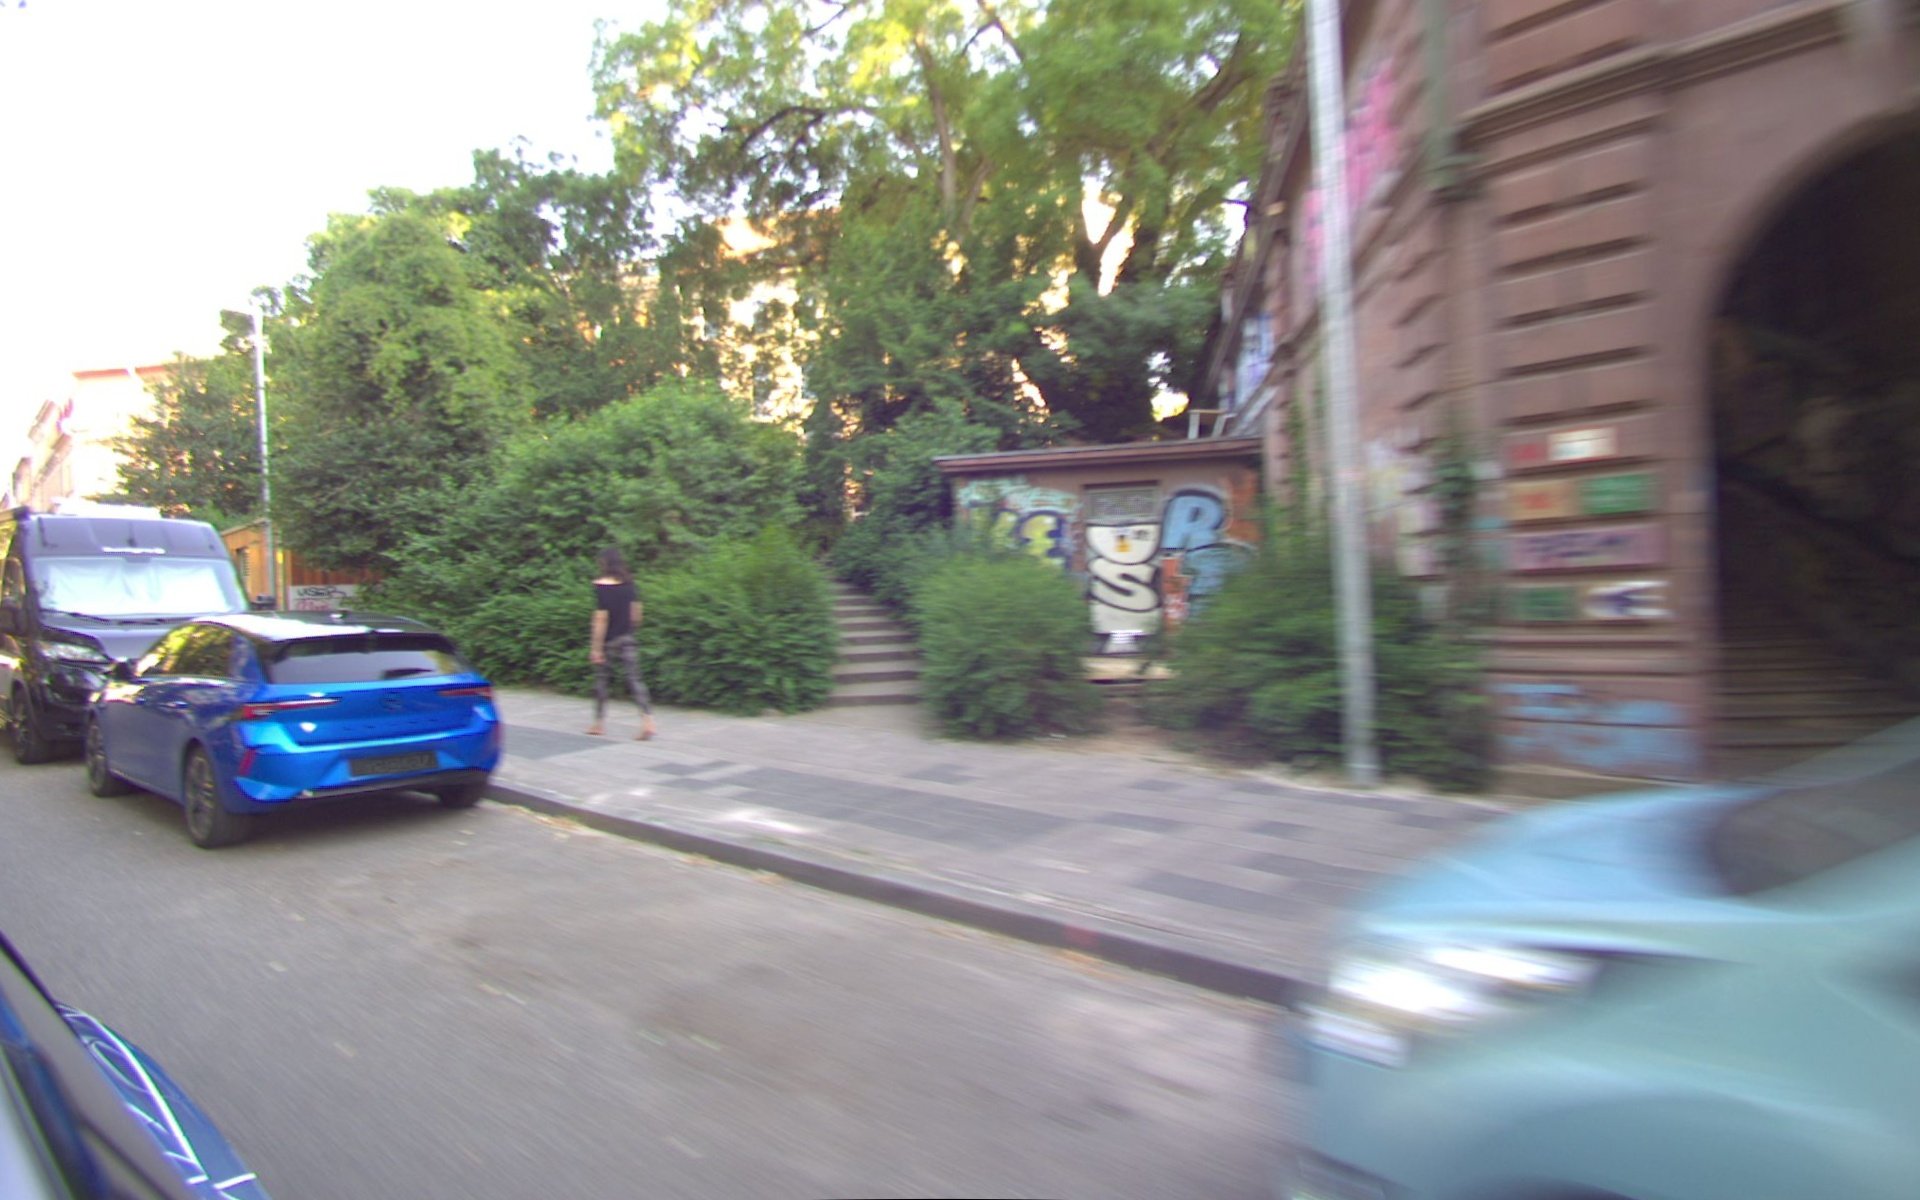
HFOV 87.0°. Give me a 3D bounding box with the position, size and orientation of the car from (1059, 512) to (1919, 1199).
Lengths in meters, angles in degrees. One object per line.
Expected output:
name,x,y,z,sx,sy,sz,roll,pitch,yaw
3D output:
car,2.206,0.656,1.398,3.912,1.559,1.578,-1,-1,40

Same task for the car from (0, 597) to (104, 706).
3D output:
car,-14.806,0.725,15.708,4.226,1.518,1.682,0,0,41

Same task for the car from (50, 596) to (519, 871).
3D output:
car,-5.338,0.765,7.759,4.371,1.477,1.728,0,2,39

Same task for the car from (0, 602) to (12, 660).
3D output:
car,-25.176,0.745,25.525,4.195,1.410,1.680,0,0,44

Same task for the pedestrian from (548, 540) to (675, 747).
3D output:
pedestrian,-3.424,0.395,9.938,1.045,1.928,0.632,-1,2,36

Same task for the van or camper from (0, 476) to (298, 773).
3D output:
van or camper,-10.017,0.178,11.559,6.415,2.541,2.214,0,2,40

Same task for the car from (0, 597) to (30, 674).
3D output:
car,-20.632,0.692,21.022,4.551,1.509,1.680,0,0,44
